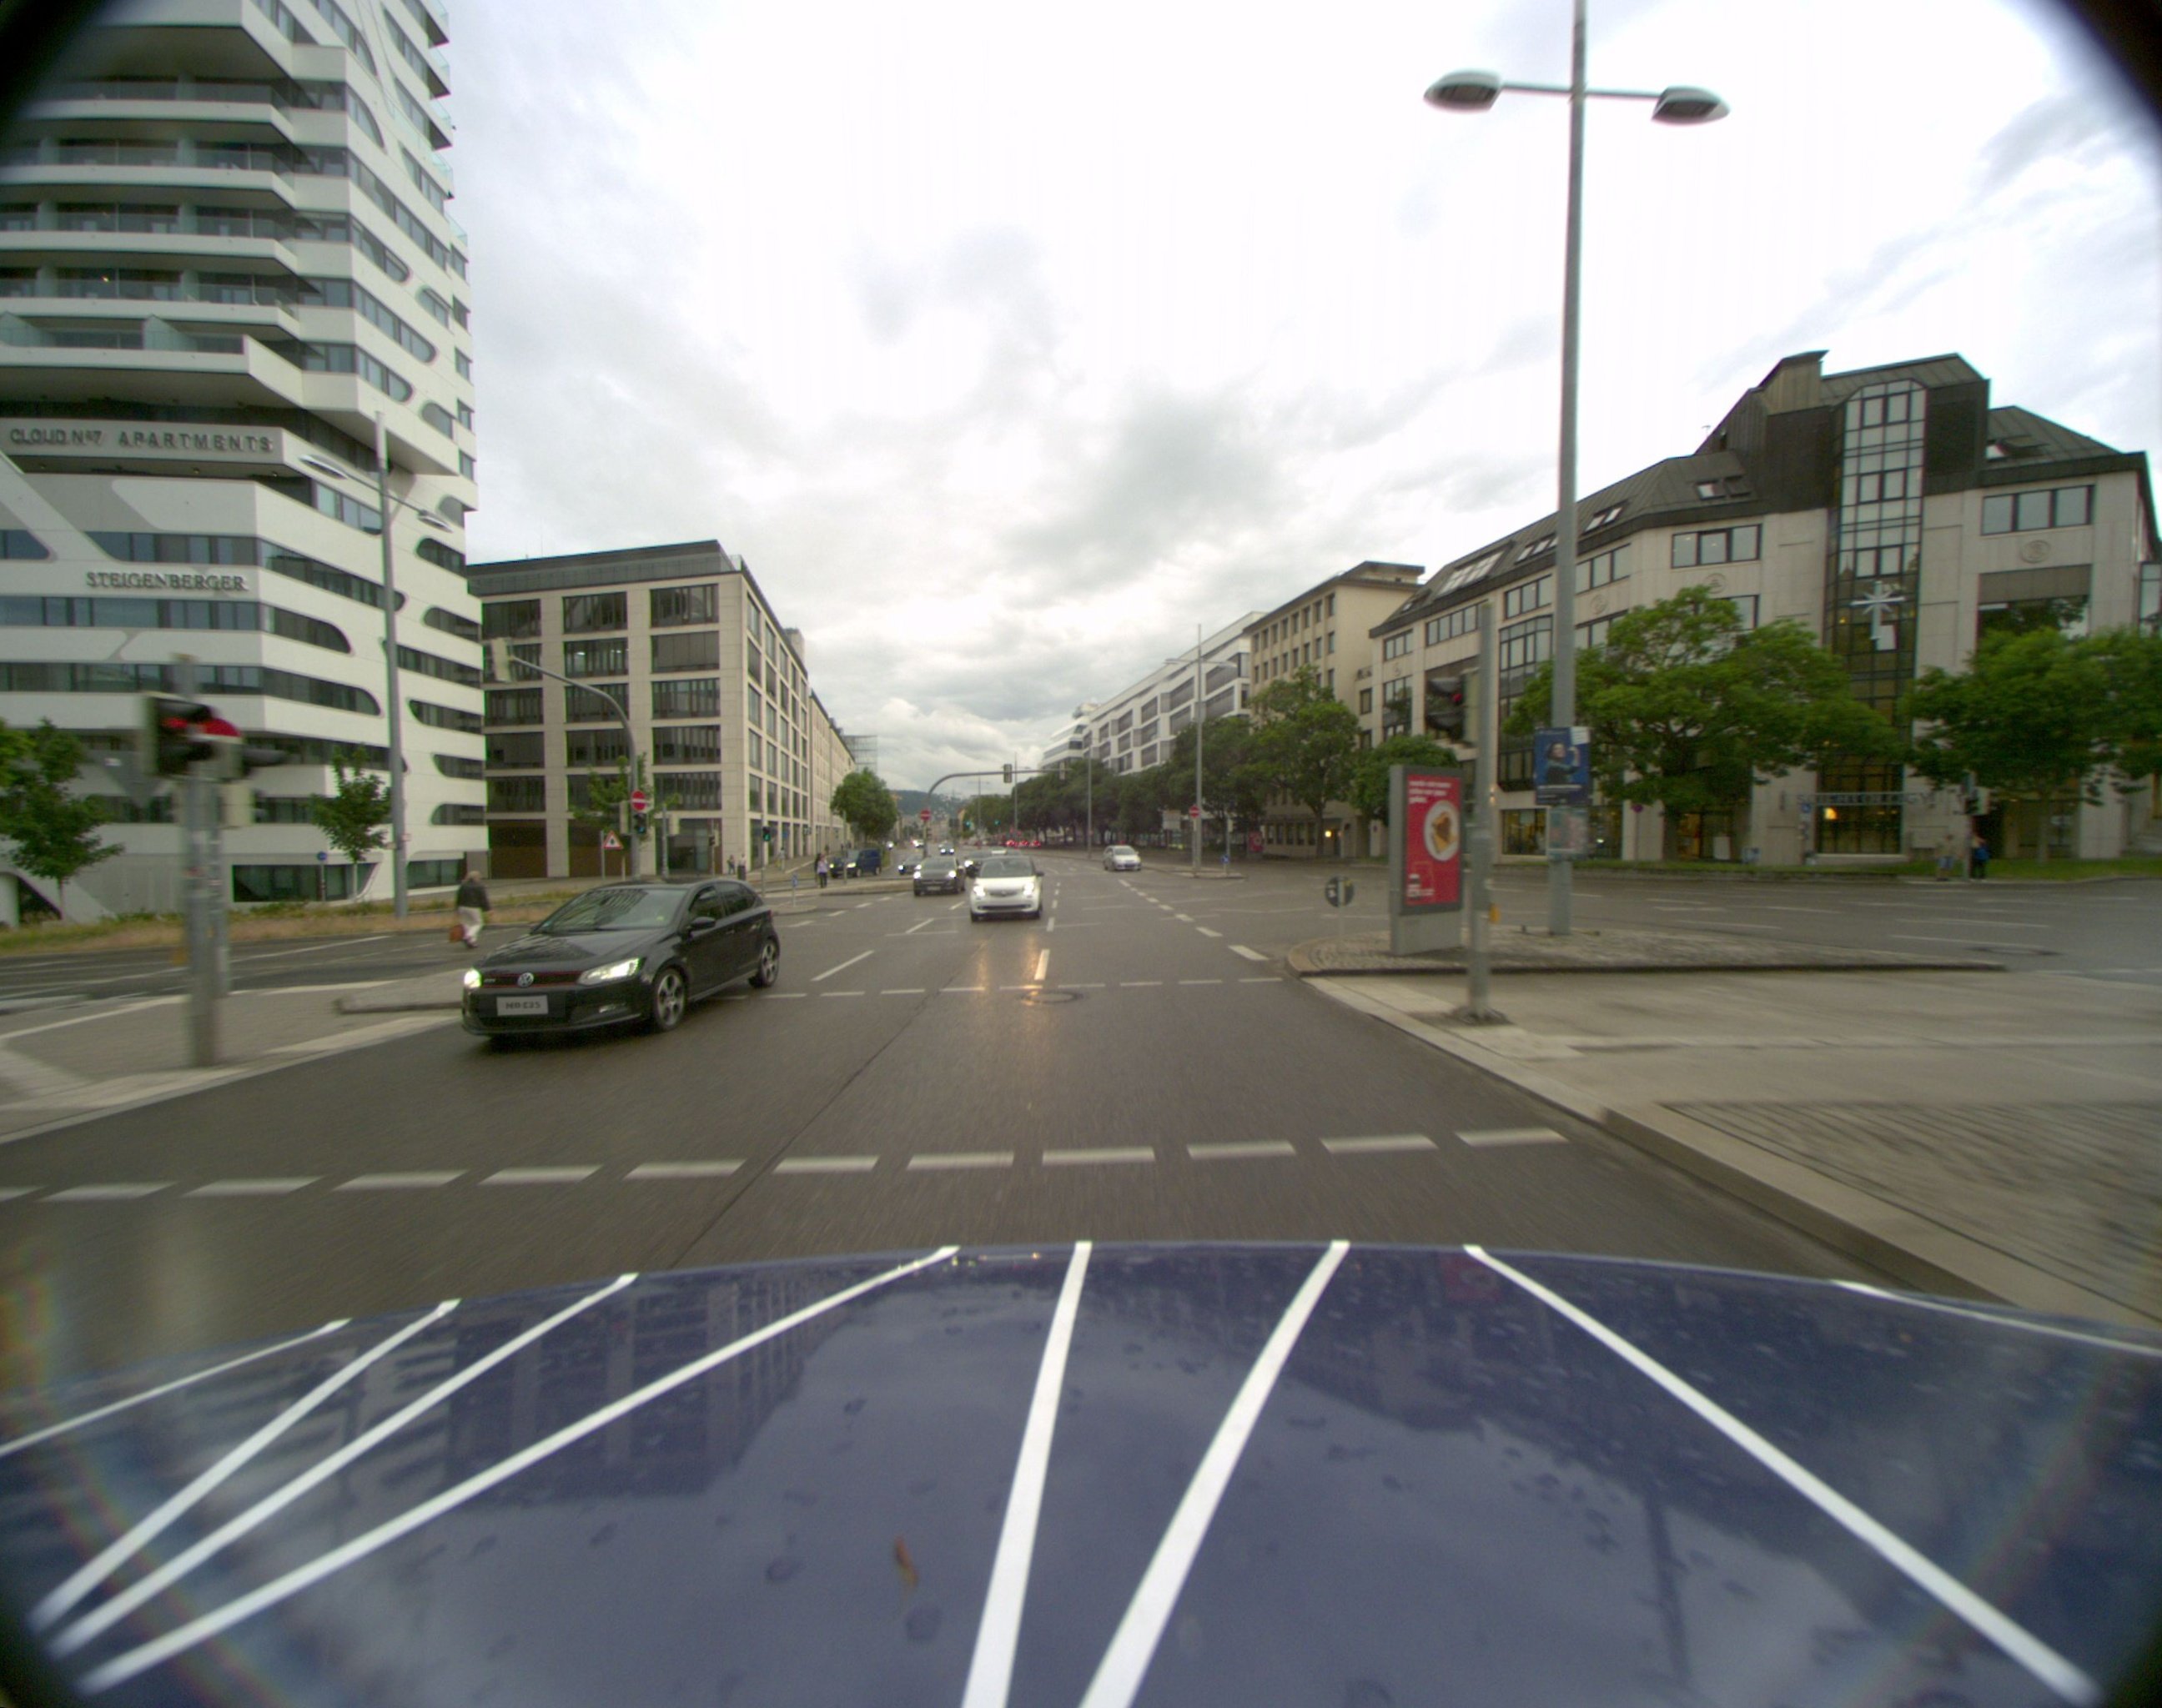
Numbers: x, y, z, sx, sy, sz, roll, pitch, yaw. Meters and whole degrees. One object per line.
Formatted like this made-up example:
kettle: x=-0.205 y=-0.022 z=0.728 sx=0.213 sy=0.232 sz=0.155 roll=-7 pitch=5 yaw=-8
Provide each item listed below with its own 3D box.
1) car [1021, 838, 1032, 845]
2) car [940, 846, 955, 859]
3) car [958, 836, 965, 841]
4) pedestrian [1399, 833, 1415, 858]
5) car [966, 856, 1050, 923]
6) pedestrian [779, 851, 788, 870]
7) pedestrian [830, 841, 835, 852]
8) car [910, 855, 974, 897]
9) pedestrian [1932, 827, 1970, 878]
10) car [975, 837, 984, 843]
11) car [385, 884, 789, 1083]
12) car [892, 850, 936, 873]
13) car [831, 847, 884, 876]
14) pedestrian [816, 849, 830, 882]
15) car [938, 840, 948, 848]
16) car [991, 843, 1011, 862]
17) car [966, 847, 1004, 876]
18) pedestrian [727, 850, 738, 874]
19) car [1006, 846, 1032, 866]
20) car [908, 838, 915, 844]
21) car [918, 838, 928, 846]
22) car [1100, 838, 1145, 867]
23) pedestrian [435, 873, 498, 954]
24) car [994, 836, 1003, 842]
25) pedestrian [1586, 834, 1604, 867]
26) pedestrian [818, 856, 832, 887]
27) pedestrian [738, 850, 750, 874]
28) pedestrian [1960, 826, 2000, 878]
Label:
car: x=-12.223 y=-2.800 z=170.035 sx=1.801 sy=1.501 sz=3.995 roll=-2 pitch=1 yaw=-13
car: x=-19.849 y=-0.234 z=112.926 sx=1.801 sy=1.934 sz=3.995 roll=-2 pitch=1 yaw=-13
car: x=-36.493 y=-4.695 z=231.241 sx=1.801 sy=1.501 sz=3.995 roll=-2 pitch=1 yaw=-13
pedestrian: x=23.542 y=-0.619 z=54.939 sx=0.835 sy=1.774 sz=0.615 roll=-2 pitch=1 yaw=-8
car: x=-1.786 y=0.835 z=19.682 sx=1.799 sy=1.528 sz=3.999 roll=-1 pitch=0 yaw=-1
pedestrian: x=-23.553 y=0.494 z=60.151 sx=0.588 sy=1.469 sz=0.603 roll=-3 pitch=1 yaw=-22
pedestrian: x=-34.432 y=-1.013 z=105.307 sx=0.588 sy=1.469 sz=0.603 roll=-2 pitch=1 yaw=-14
car: x=-5.427 y=0.813 z=30.024 sx=1.751 sy=1.433 sz=3.706 roll=-2 pitch=1 yaw=1
pedestrian: x=30.871 y=-0.058 z=26.974 sx=0.590 sy=1.799 sz=0.674 roll=-2 pitch=1 yaw=5
car: x=-27.583 y=-3.720 z=206.496 sx=1.801 sy=1.501 sz=3.995 roll=-2 pitch=1 yaw=-13
car: x=-4.698 y=1.114 z=8.010 sx=1.678 sy=1.391 sz=3.848 roll=-2 pitch=0 yaw=0
car: x=-11.819 y=0.484 z=53.972 sx=1.798 sy=1.501 sz=4.001 roll=-2 pitch=1 yaw=6
car: x=-15.476 y=0.471 z=52.859 sx=1.797 sy=1.851 sz=4.294 roll=-2 pitch=1 yaw=9
pedestrian: x=-14.609 y=0.646 z=43.060 sx=0.604 sy=1.792 sz=0.587 roll=-2 pitch=1 yaw=-9
car: x=-28.351 y=-2.121 z=155.766 sx=1.801 sy=1.501 sz=3.995 roll=-2 pitch=1 yaw=-13
car: x=-8.807 y=-0.199 z=83.796 sx=1.799 sy=2.021 sz=3.999 roll=-2 pitch=1 yaw=-1
car: x=-6.078 y=0.434 z=48.424 sx=1.799 sy=1.656 sz=3.999 roll=-2 pitch=1 yaw=1
pedestrian: x=-24.433 y=0.563 z=53.273 sx=0.588 sy=1.600 sz=0.603 roll=-2 pitch=1 yaw=-15
car: x=-5.331 y=0.142 z=65.297 sx=1.799 sy=1.656 sz=3.999 roll=-2 pitch=1 yaw=1
car: x=-48.908 y=-3.723 z=219.223 sx=1.801 sy=1.502 sz=3.995 roll=-2 pitch=1 yaw=-13
car: x=-34.358 y=-2.564 z=165.169 sx=1.801 sy=1.501 sz=3.995 roll=-2 pitch=1 yaw=-13
car: x=2.655 y=-0.118 z=49.239 sx=1.801 sy=1.733 sz=3.995 roll=-2 pitch=1 yaw=-13
pedestrian: x=-12.800 y=1.220 z=15.843 sx=0.707 sy=1.615 sz=0.644 roll=-2 pitch=1 yaw=1
car: x=-21.550 y=-3.855 z=197.822 sx=1.801 sy=1.501 sz=3.995 roll=-2 pitch=1 yaw=-13
pedestrian: x=27.865 y=-0.203 z=41.188 sx=0.604 sy=1.774 sz=0.526 roll=-2 pitch=1 yaw=-8
pedestrian: x=-12.666 y=0.867 z=37.602 sx=0.588 sy=1.469 sz=0.603 roll=-3 pitch=1 yaw=-22
pedestrian: x=-23.481 y=0.545 z=52.929 sx=0.588 sy=1.600 sz=0.603 roll=-2 pitch=1 yaw=-15
pedestrian: x=31.532 y=-0.081 z=26.657 sx=0.590 sy=1.799 sz=0.674 roll=-2 pitch=1 yaw=5
